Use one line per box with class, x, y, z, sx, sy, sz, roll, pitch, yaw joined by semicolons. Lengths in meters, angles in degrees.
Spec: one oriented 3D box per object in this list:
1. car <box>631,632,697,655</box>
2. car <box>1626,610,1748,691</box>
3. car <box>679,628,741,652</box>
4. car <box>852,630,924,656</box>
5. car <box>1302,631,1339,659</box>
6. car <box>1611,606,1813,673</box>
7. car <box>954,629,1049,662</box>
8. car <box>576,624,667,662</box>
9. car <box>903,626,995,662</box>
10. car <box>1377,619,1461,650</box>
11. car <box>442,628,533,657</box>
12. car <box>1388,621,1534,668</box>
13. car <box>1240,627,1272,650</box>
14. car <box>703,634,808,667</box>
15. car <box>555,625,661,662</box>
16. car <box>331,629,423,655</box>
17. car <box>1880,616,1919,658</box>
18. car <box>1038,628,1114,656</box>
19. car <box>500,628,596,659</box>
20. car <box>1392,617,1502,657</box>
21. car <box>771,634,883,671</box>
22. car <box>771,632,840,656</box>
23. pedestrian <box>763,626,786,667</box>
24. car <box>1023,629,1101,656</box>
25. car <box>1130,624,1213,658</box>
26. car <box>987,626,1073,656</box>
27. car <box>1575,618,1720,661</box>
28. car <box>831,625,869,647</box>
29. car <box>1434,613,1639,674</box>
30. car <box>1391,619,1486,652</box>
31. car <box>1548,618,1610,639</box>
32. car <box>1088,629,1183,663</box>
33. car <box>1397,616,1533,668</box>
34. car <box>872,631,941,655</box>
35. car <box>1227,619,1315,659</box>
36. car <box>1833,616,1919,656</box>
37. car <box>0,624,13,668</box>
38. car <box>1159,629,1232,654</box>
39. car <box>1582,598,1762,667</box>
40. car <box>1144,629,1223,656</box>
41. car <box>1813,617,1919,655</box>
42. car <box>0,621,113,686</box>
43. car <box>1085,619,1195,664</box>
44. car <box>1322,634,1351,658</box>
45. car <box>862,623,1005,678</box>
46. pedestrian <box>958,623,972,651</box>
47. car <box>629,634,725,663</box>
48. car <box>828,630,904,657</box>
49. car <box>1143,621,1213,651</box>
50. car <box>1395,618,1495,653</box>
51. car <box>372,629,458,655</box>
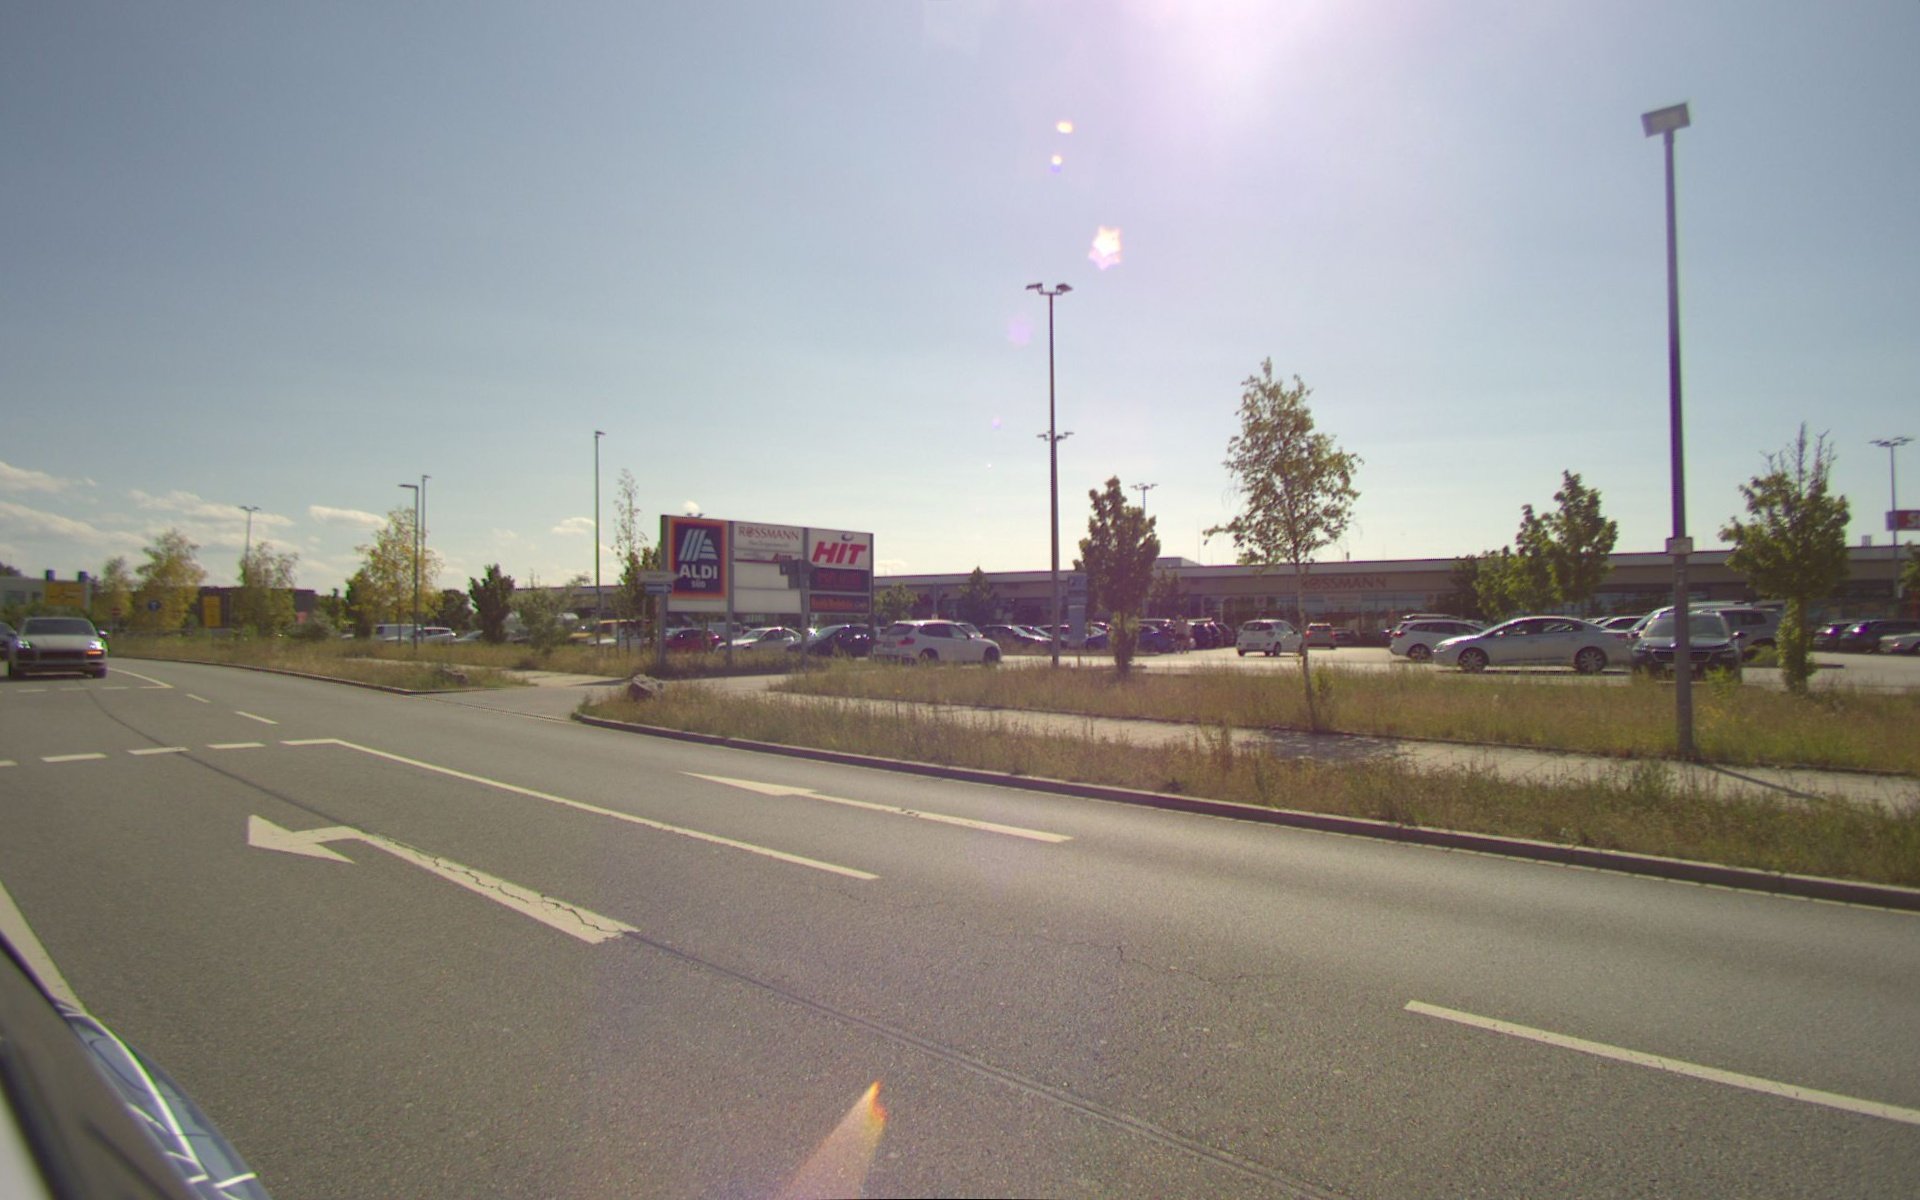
car;-20.855;3.075;71.287;4.324;1.538;1.705;-1;-3;22
car;15.013;0.996;20.807;1.835;1.469;4.532;-1;-2;38
car;-18.843;3.036;76.319;4.559;1.754;1.702;-1;-3;26
car;-4.579;2.739;64.720;4.326;1.584;1.704;-1;-3;23
car;20.806;2.572;58.299;1.828;1.559;3.970;-1;-2;22
car;21.758;1.142;29.521;4.355;1.837;1.823;-1;-2;24
car;2.024;2.226;49.615;4.326;1.528;1.704;-1;-3;23
car;-17.529;2.239;52.555;1.932;1.875;4.100;-2;-3;41
car;-0.511;1.947;45.290;1.889;1.559;4.002;2;-3;-45
car;26.978;2.000;59.631;4.349;1.774;1.905;-1;-2;20
car;-28.952;2.614;62.132;1.997;1.685;4.658;-2;-3;37
car;17.069;1.495;34.728;4.355;1.523;1.823;-1;-2;24
car;21.509;2.816;73.481;1.706;1.646;4.320;-1;-3;23
car;-8.776;2.163;43.693;1.936;1.358;4.098;-2;-3;43
car;-19.893;2.472;57.524;1.995;1.980;5.633;-2;-3;34
car;-39.787;2.852;69.238;1.992;1.685;5.144;-2;-3;30
car;38.811;1.437;39.137;4.355;1.604;1.823;-1;-2;24
car;7.131;2.589;62.189;4.326;1.628;1.704;-1;-3;23
car;-23.205;2.439;57.155;1.879;1.685;4.723;-2;-3;37
car;22.518;1.701;46.979;4.349;1.807;1.905;-1;-2;20
car;-5.209;2.045;40.022;1.936;1.358;4.098;-2;-3;43
car;-10.212;2.901;67.034;4.330;1.538;1.702;-1;-3;25
pedestrian;-7.883;1.969;42.932;0.579;1.708;0.756;-2;-3;44
car;5.995;2.498;59.550;4.326;1.556;1.704;-1;-3;23
car;11.941;2.306;57.075;4.326;1.865;1.704;-1;-3;23
car;3.793;2.240;54.730;4.326;1.573;1.704;-1;-3;23
car;26.592;1.508;39.354;4.355;1.594;1.823;-1;-2;24
car;-9.581;3.140;88.425;1.703;1.821;4.329;-1;-2;18
car;15.231;1.138;27.073;4.597;1.523;1.822;-1;-2;26
car;25.501;1.877;54.073;4.349;1.731;1.905;-1;-2;20
car;54.361;2.482;88.988;4.355;1.804;1.902;-1;-2;24
car;8.559;2.246;49.406;4.326;1.593;1.704;-1;-3;23
car;18.436;1.538;37.202;4.355;1.817;1.902;-1;-2;24
car;-3.550;2.855;66.945;4.326;1.544;1.704;-1;-3;23
car;12.834;1.580;41.631;1.917;1.559;3.943;-2;-2;43
car;39.131;1.485;41.730;4.355;1.645;1.823;-1;-2;24
car;-39.368;1.847;40.469;4.379;1.700;1.734;-2;-3;41
car;15.037;2.658;64.715;4.326;1.548;1.704;-1;-3;23
car;22.569;1.041;32.298;4.355;2.080;1.823;-1;-2;24
car;13.164;2.527;59.587;4.326;1.548;1.704;-1;-3;23
car;40.740;1.563;44.639;4.355;1.635;1.823;-1;-2;24
car;-25.283;1.502;28.143;4.777;1.656;2.086;-4;-3;43
car;8.334;1.943;46.933;4.803;2.001;1.704;-1;-3;23
car;26.521;3.201;71.259;1.706;1.646;4.320;-1;-3;23
car;-0.744;1.480;30.562;1.918;1.559;4.165;-2;-3;44
pedestrian;0.317;2.440;66.991;0.776;1.838;0.565;-1;-2;24
car;-13.775;2.344;49.435;1.936;1.358;4.098;-2;-3;43
car;-5.734;2.655;61.658;4.326;1.561;1.704;-1;-3;23
car;14.641;2.433;67.900;4.326;1.974;1.704;-1;-3;23
car;24.661;1.811;51.615;4.349;1.738;1.905;-1;-2;20
car;-35.657;2.749;66.298;1.996;1.685;4.549;-2;-3;35
